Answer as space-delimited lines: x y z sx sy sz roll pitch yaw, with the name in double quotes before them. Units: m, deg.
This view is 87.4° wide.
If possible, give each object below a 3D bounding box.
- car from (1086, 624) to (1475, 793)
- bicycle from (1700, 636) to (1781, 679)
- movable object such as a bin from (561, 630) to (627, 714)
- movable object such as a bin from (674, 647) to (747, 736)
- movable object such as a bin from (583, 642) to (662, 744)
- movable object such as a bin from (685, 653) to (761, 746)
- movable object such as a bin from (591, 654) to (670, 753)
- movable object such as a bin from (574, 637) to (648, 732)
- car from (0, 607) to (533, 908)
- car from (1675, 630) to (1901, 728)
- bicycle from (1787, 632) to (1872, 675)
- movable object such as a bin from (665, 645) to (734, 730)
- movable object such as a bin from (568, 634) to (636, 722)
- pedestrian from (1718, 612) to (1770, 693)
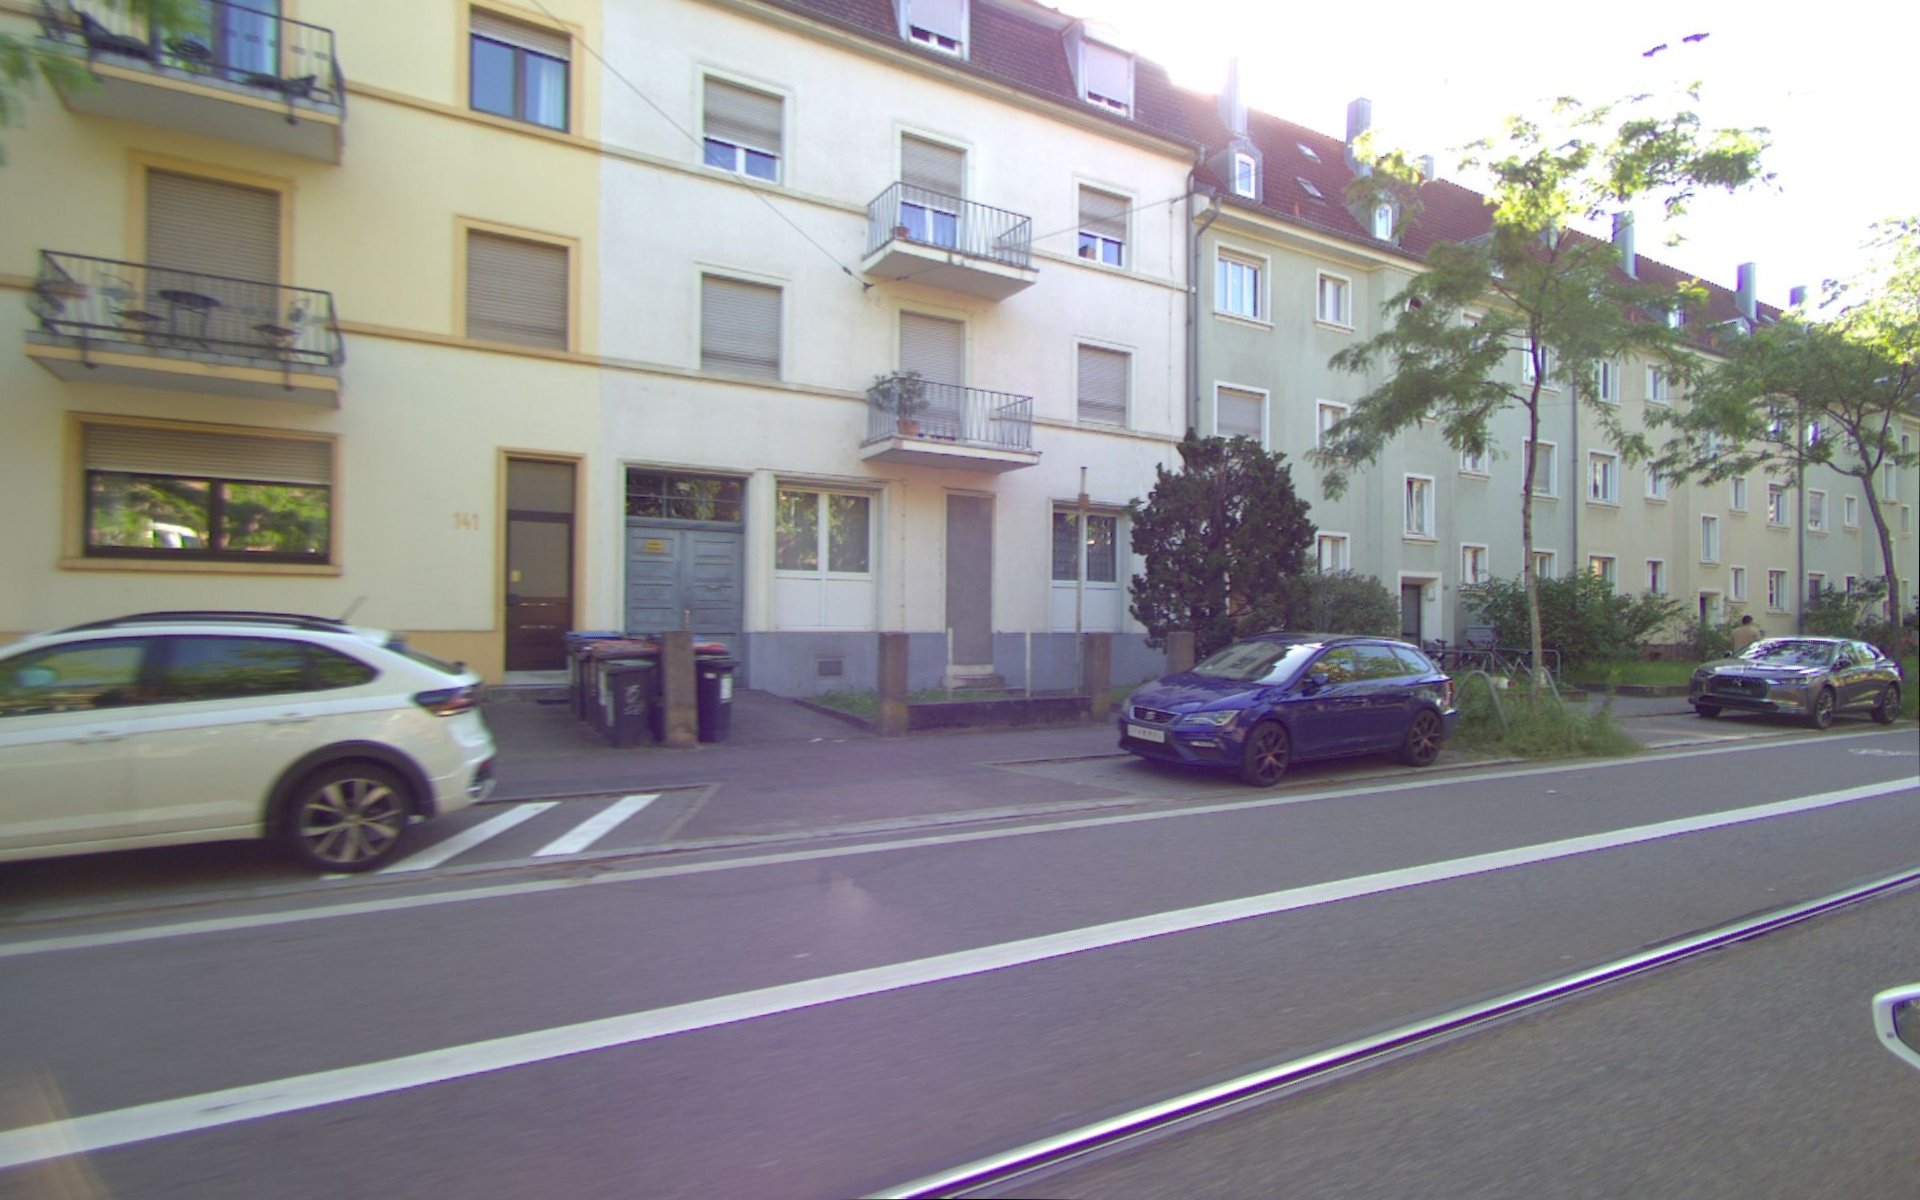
"car" 3.682 1.071 11.279 4.389 1.531 1.748 1 0 -32
"bicycle" 24.113 1.754 31.059 0.516 1.193 1.896 1 1 -32
"movable object such as a bin" -4.987 0.963 13.670 0.723 1.060 0.841 1 1 -27
"movable object such as a bin" -3.000 1.082 12.057 0.723 0.989 0.557 1 1 -28
"movable object such as a bin" -3.876 1.040 11.497 0.723 1.060 0.841 1 1 -27
"movable object such as a bin" -2.708 1.116 11.469 0.723 0.989 0.557 1 1 -28
"movable object such as a bin" -3.562 1.097 10.852 0.723 0.989 0.557 1 1 -28
"movable object such as a bin" -4.266 1.012 12.263 0.723 1.060 0.841 1 1 -27
"car" -5.101 0.834 6.185 4.322 1.531 1.807 1 0 -32
"car" 14.726 1.322 17.831 4.158 1.505 1.808 1 0 -31
"bicycle" 26.890 1.634 31.080 0.516 1.193 1.896 1 1 -32
"movable object such as a bin" -3.263 1.076 12.574 0.723 0.989 0.557 1 1 -28
"movable object such as a bin" -4.625 0.988 12.973 0.723 1.060 0.705 1 1 -27
"pedestrian" 18.050 1.195 23.135 0.804 1.825 0.688 1 -1 -31
